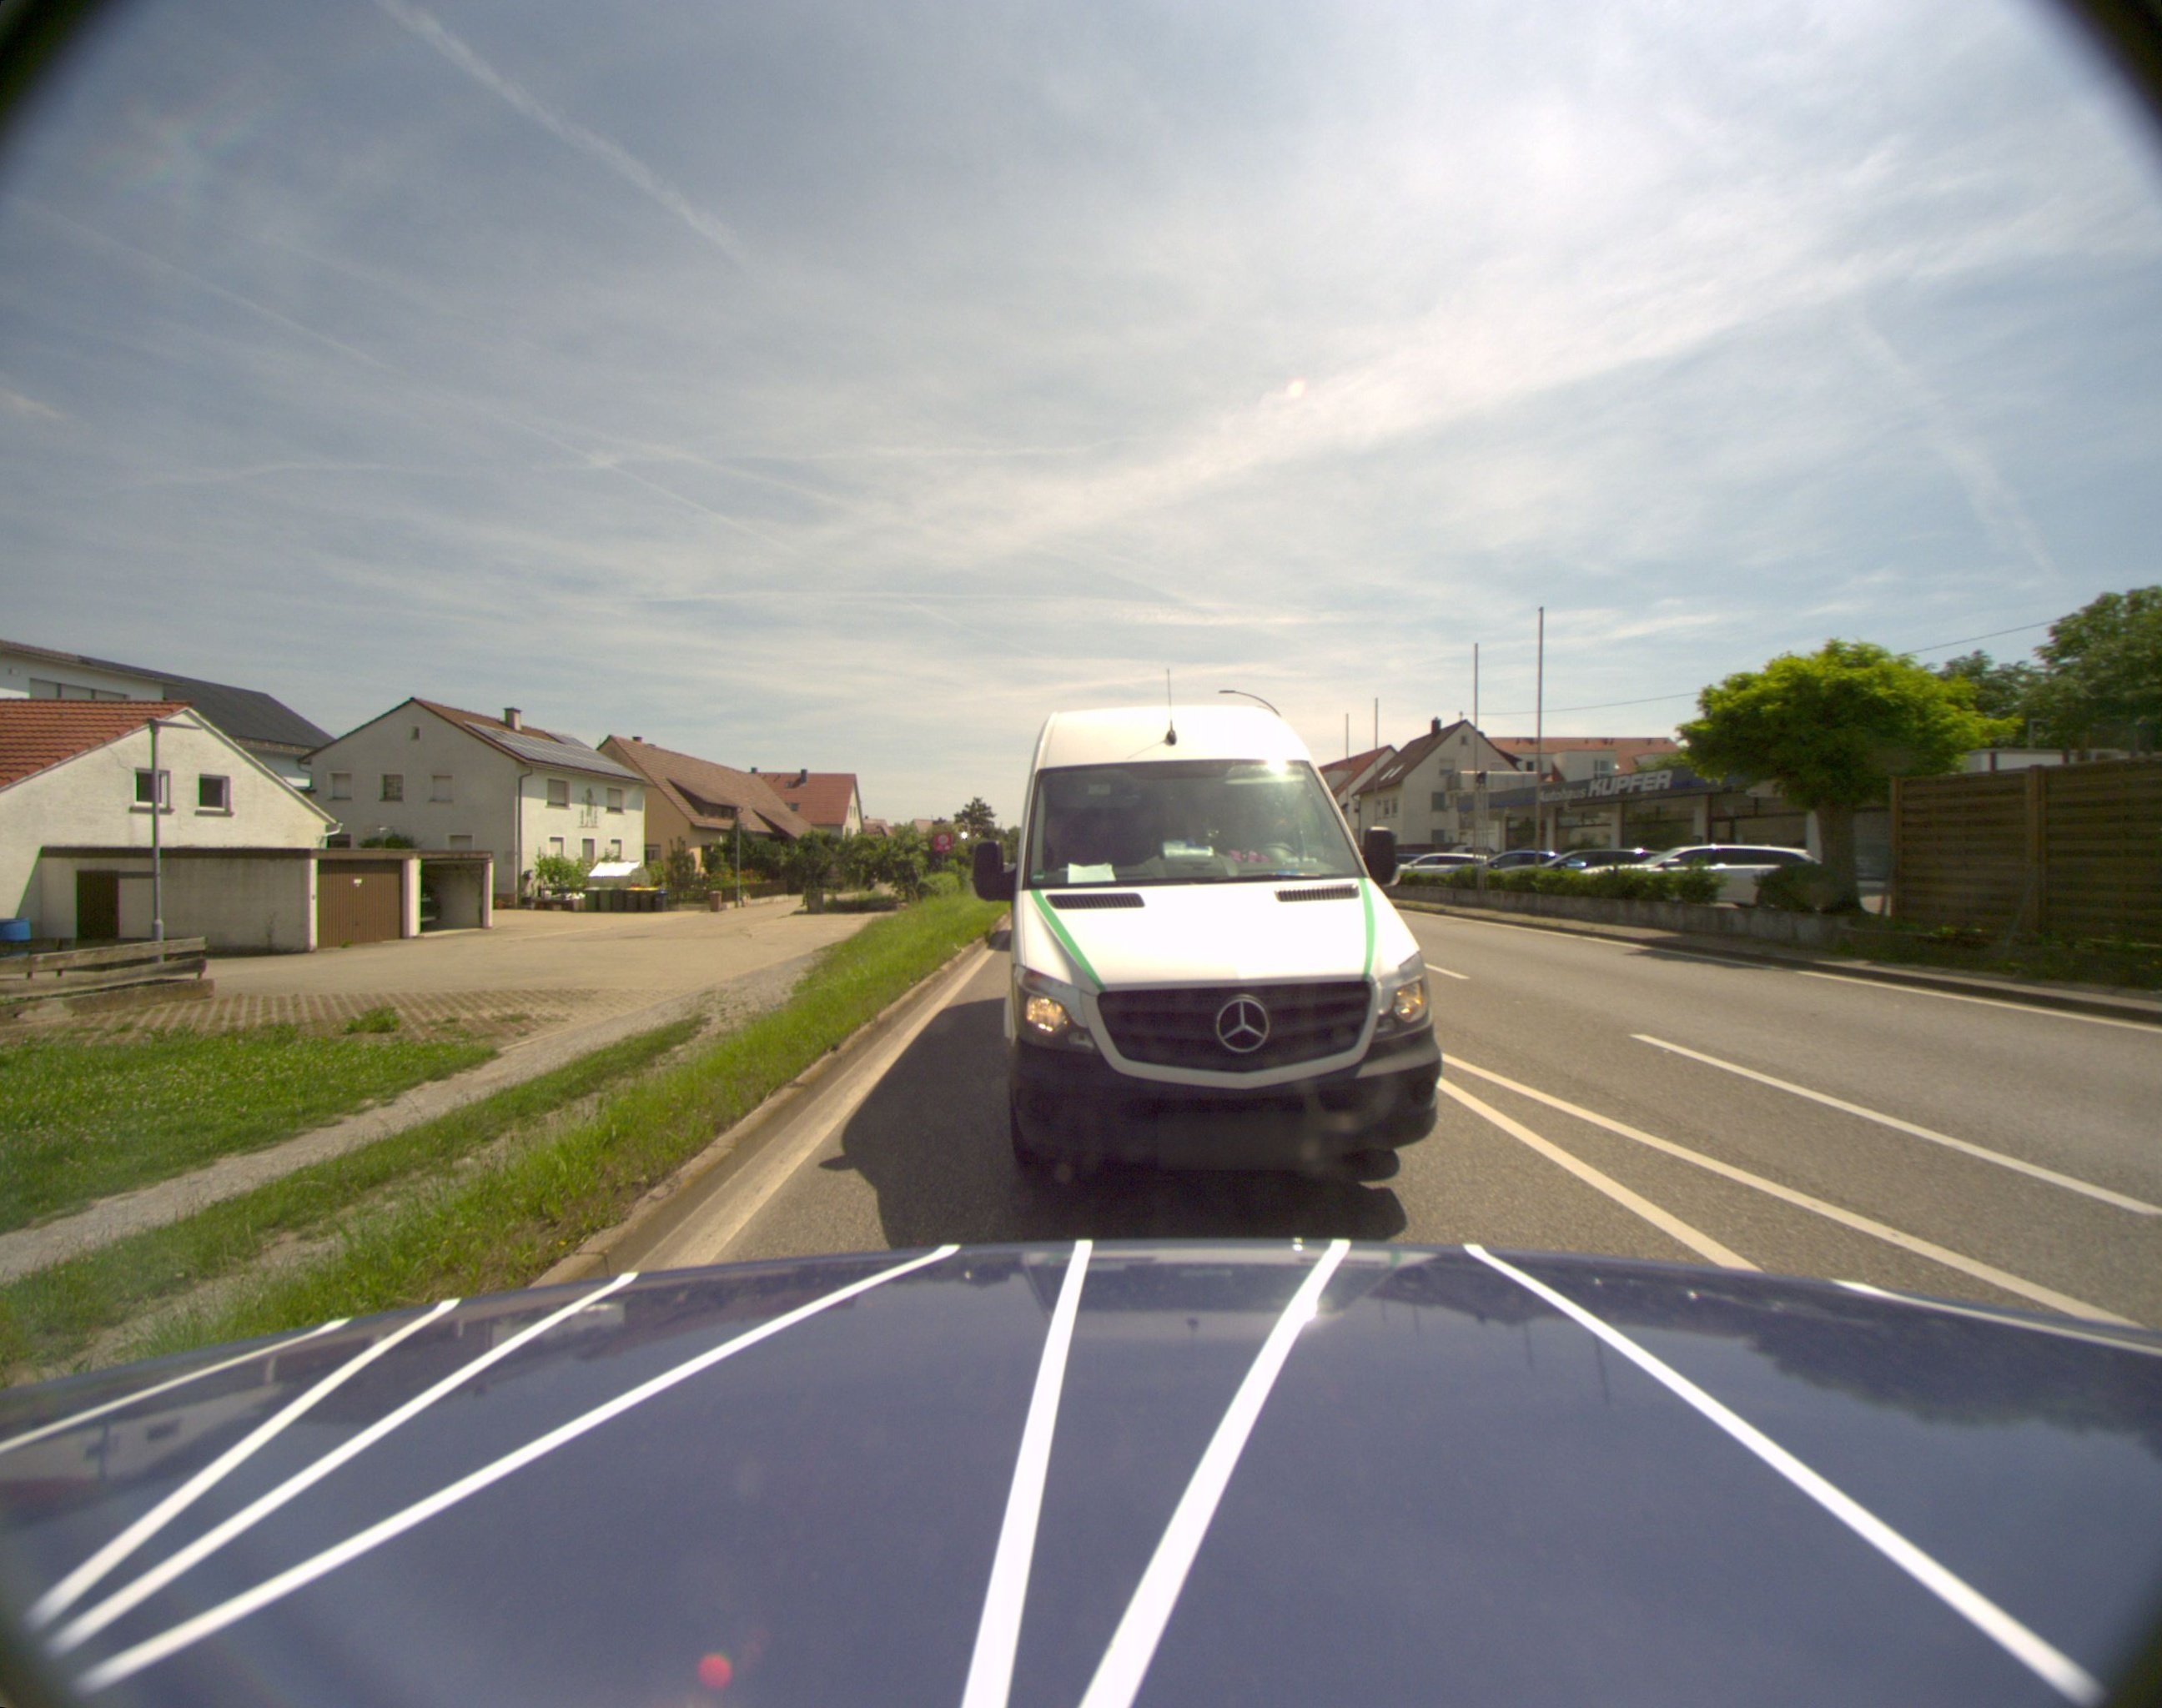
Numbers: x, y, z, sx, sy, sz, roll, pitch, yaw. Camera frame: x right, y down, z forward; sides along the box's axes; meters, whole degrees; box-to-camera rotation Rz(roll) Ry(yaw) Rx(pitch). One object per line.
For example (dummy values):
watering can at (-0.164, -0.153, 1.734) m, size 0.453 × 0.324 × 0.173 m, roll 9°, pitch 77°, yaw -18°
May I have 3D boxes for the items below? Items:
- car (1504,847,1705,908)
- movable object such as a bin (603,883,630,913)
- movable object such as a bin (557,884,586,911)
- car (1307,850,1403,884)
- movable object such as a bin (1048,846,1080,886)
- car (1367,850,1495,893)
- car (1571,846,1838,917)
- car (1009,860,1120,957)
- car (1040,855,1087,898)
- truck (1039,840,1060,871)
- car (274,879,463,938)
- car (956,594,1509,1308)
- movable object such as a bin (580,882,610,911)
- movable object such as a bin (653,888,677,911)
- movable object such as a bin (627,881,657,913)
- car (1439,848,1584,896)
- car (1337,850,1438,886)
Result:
car at (14.223, 0.642, 20.976) m, size 4.251 × 1.536 × 1.853 m, roll -2°, pitch 0°, yaw 23°
movable object such as a bin at (-21.205, 2.007, 34.678) m, size 0.678 × 1.330 × 0.820 m, roll -2°, pitch 0°, yaw -1°
movable object such as a bin at (-23.055, 1.950, 34.391) m, size 0.740 × 1.149 × 0.830 m, roll -2°, pitch 0°, yaw -1°
car at (13.567, 0.653, 37.611) m, size 4.255 × 1.521 × 2.003 m, roll -2°, pitch 0°, yaw 26°
movable object such as a bin at (-1.177, 0.837, 55.254) m, size 1.998 × 2.710 × 5.419 m, roll -1°, pitch 0°, yaw 1°
car at (13.484, 0.697, 29.350) m, size 4.303 × 1.510 × 2.003 m, roll -2°, pitch 0°, yaw 27°
car at (13.863, 0.597, 17.265) m, size 4.329 × 1.451 × 1.858 m, roll -1°, pitch 0°, yaw 24°
car at (-0.299, 0.927, 14.607) m, size 1.824 × 1.574 × 3.901 m, roll -1°, pitch 0°, yaw -1°
car at (-0.711, 0.888, 31.476) m, size 1.824 × 1.637 × 3.901 m, roll -1°, pitch 0°, yaw -1°
truck at (-4.090, 0.214, 99.531) m, size 2.506 × 3.847 × 5.497 m, roll -2°, pitch 0°, yaw -1°
car at (-21.550, 1.620, 23.103) m, size 3.997 × 1.594 × 1.826 m, roll -1°, pitch 0°, yaw 0°
car at (0.534, 0.371, 5.635) m, size 1.978 × 2.583 × 5.633 m, roll -2°, pitch 0°, yaw -1°
movable object such as a bin at (-22.126, 1.918, 34.628) m, size 0.745 × 1.239 × 0.889 m, roll -2°, pitch 0°, yaw -1°
movable object such as a bin at (-18.858, 2.059, 34.474) m, size 0.645 × 1.021 × 0.756 m, roll -2°, pitch 0°, yaw -1°
movable object such as a bin at (-19.865, 1.926, 34.381) m, size 0.765 × 1.362 × 0.946 m, roll -2°, pitch 0°, yaw -1°
car at (13.978, 0.597, 24.958) m, size 3.990 × 1.433 × 1.857 m, roll -2°, pitch 0°, yaw 25°
car at (13.567, 0.634, 33.657) m, size 3.990 × 1.455 × 2.003 m, roll -2°, pitch 0°, yaw 26°
